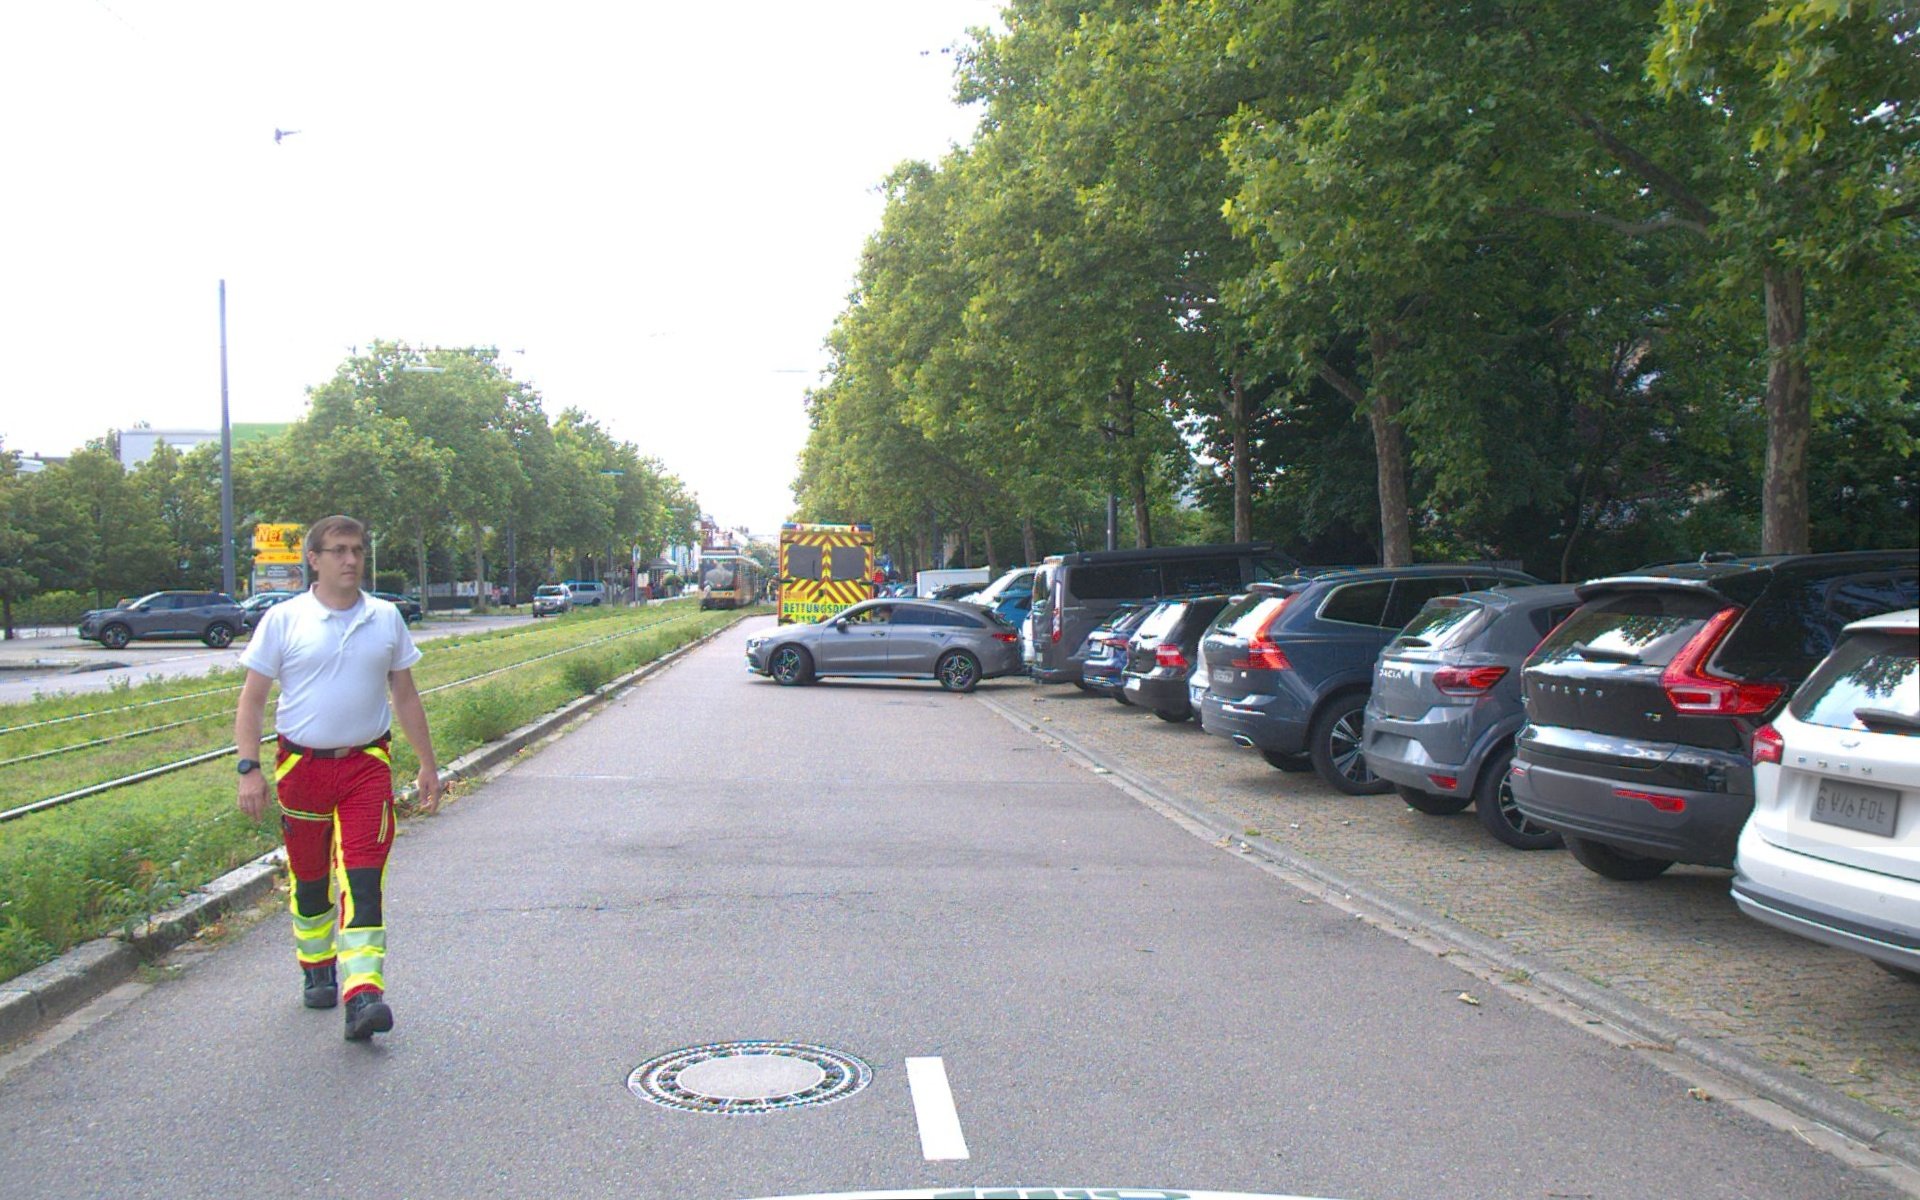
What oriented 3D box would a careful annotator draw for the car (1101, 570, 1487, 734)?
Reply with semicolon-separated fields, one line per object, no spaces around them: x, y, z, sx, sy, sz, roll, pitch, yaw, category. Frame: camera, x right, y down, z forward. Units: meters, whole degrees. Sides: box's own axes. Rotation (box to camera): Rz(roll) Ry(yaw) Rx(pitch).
3.737;0.529;18.662;3.901;1.633;1.748;-2;0;-16;car

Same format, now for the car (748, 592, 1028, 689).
-1.112;0.641;26.978;4.360;1.410;1.767;1;0;4;car

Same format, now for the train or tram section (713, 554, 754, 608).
-16.033;-1.279;117.465;2.463;3.646;7.435;-2;0;-6;train or tram section

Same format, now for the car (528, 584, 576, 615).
-22.381;-0.048;90.796;1.955;1.585;4.364;-2;1;-6;car

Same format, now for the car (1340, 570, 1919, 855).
4.763;0.617;10.403;4.294;1.527;1.755;-1;1;-4;car

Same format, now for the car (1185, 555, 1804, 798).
4.089;0.544;13.064;4.294;1.668;1.755;-1;0;-4;car

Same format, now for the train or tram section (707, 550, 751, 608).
-15.312;-1.330;110.066;2.463;3.646;7.435;-2;0;-6;train or tram section

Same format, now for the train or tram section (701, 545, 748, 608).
-14.583;-1.380;102.666;2.463;3.646;7.435;-2;0;-6;train or tram section

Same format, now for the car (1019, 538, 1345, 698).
3.234;0.238;24.557;4.458;2.160;1.853;-1;0;-6;car

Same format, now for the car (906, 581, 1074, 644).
0.815;0.330;46.661;4.462;1.636;1.852;-2;0;-10;car

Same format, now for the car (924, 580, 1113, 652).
1.438;0.387;41.546;4.462;1.636;1.852;-2;0;-10;car

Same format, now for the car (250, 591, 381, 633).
-24.129;0.451;61.998;4.198;1.508;1.855;1;0;-42;car

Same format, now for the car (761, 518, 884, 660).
-3.241;-0.254;39.629;2.589;3.018;6.294;2;0;-4;car

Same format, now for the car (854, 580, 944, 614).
-3.202;-0.183;86.057;4.462;1.636;1.852;-2;0;-10;car

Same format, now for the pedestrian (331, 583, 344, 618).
-30.609;0.030;81.330;0.457;1.706;0.602;-1;0;-7;pedestrian

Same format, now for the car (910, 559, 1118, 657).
1.209;0.163;38.038;4.462;2.079;1.852;-2;0;-10;car

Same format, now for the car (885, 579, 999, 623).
-0.754;0.029;68.146;4.462;1.636;1.852;-2;0;-10;car

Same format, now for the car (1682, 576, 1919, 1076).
5.113;0.633;5.674;4.573;1.499;1.844;-2;1;-9;car

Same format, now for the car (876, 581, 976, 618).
-1.608;-0.032;77.950;4.462;1.636;1.852;-2;0;-10;car

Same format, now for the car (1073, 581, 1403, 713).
3.540;0.579;21.459;3.889;1.520;1.754;-1;0;-6;car

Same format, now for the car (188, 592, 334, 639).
-23.670;0.513;56.093;4.198;1.508;1.855;1;0;-42;car

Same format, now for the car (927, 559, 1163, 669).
1.682;0.256;33.473;4.462;2.035;1.852;-2;0;-10;car

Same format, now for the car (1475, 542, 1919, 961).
5.034;0.546;7.906;4.573;1.654;1.844;-2;1;-9;car

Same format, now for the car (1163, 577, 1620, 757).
4.074;0.592;15.964;3.889;1.520;1.754;-1;0;-6;car

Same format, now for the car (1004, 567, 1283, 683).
3.107;0.402;28.526;4.458;1.797;1.853;-1;0;-6;car

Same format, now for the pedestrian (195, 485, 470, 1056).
-2.087;0.509;5.520;0.792;1.716;0.845;0;0;-22;pedestrian

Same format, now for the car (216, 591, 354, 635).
-24.033;0.469;58.957;4.198;1.508;1.855;1;0;-42;car

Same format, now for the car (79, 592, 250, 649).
-22.143;0.556;46.069;4.177;1.508;1.864;1;0;-31;car

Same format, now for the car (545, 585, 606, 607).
-31.206;-0.334;134.312;4.594;1.661;1.852;-1;1;-45;car

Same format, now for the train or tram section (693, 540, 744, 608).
-13.848;-1.430;95.279;2.463;3.646;7.435;-2;0;-6;train or tram section

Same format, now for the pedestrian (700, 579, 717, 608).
-13.798;-0.358;90.628;0.864;1.552;0.750;1;-1;-6;pedestrian

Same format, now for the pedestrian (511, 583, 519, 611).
-28.010;-0.175;104.149;0.413;1.760;0.466;-1;0;-10;pedestrian

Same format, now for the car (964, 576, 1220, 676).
2.434;0.464;31.002;4.463;1.689;1.851;-2;0;-10;car
